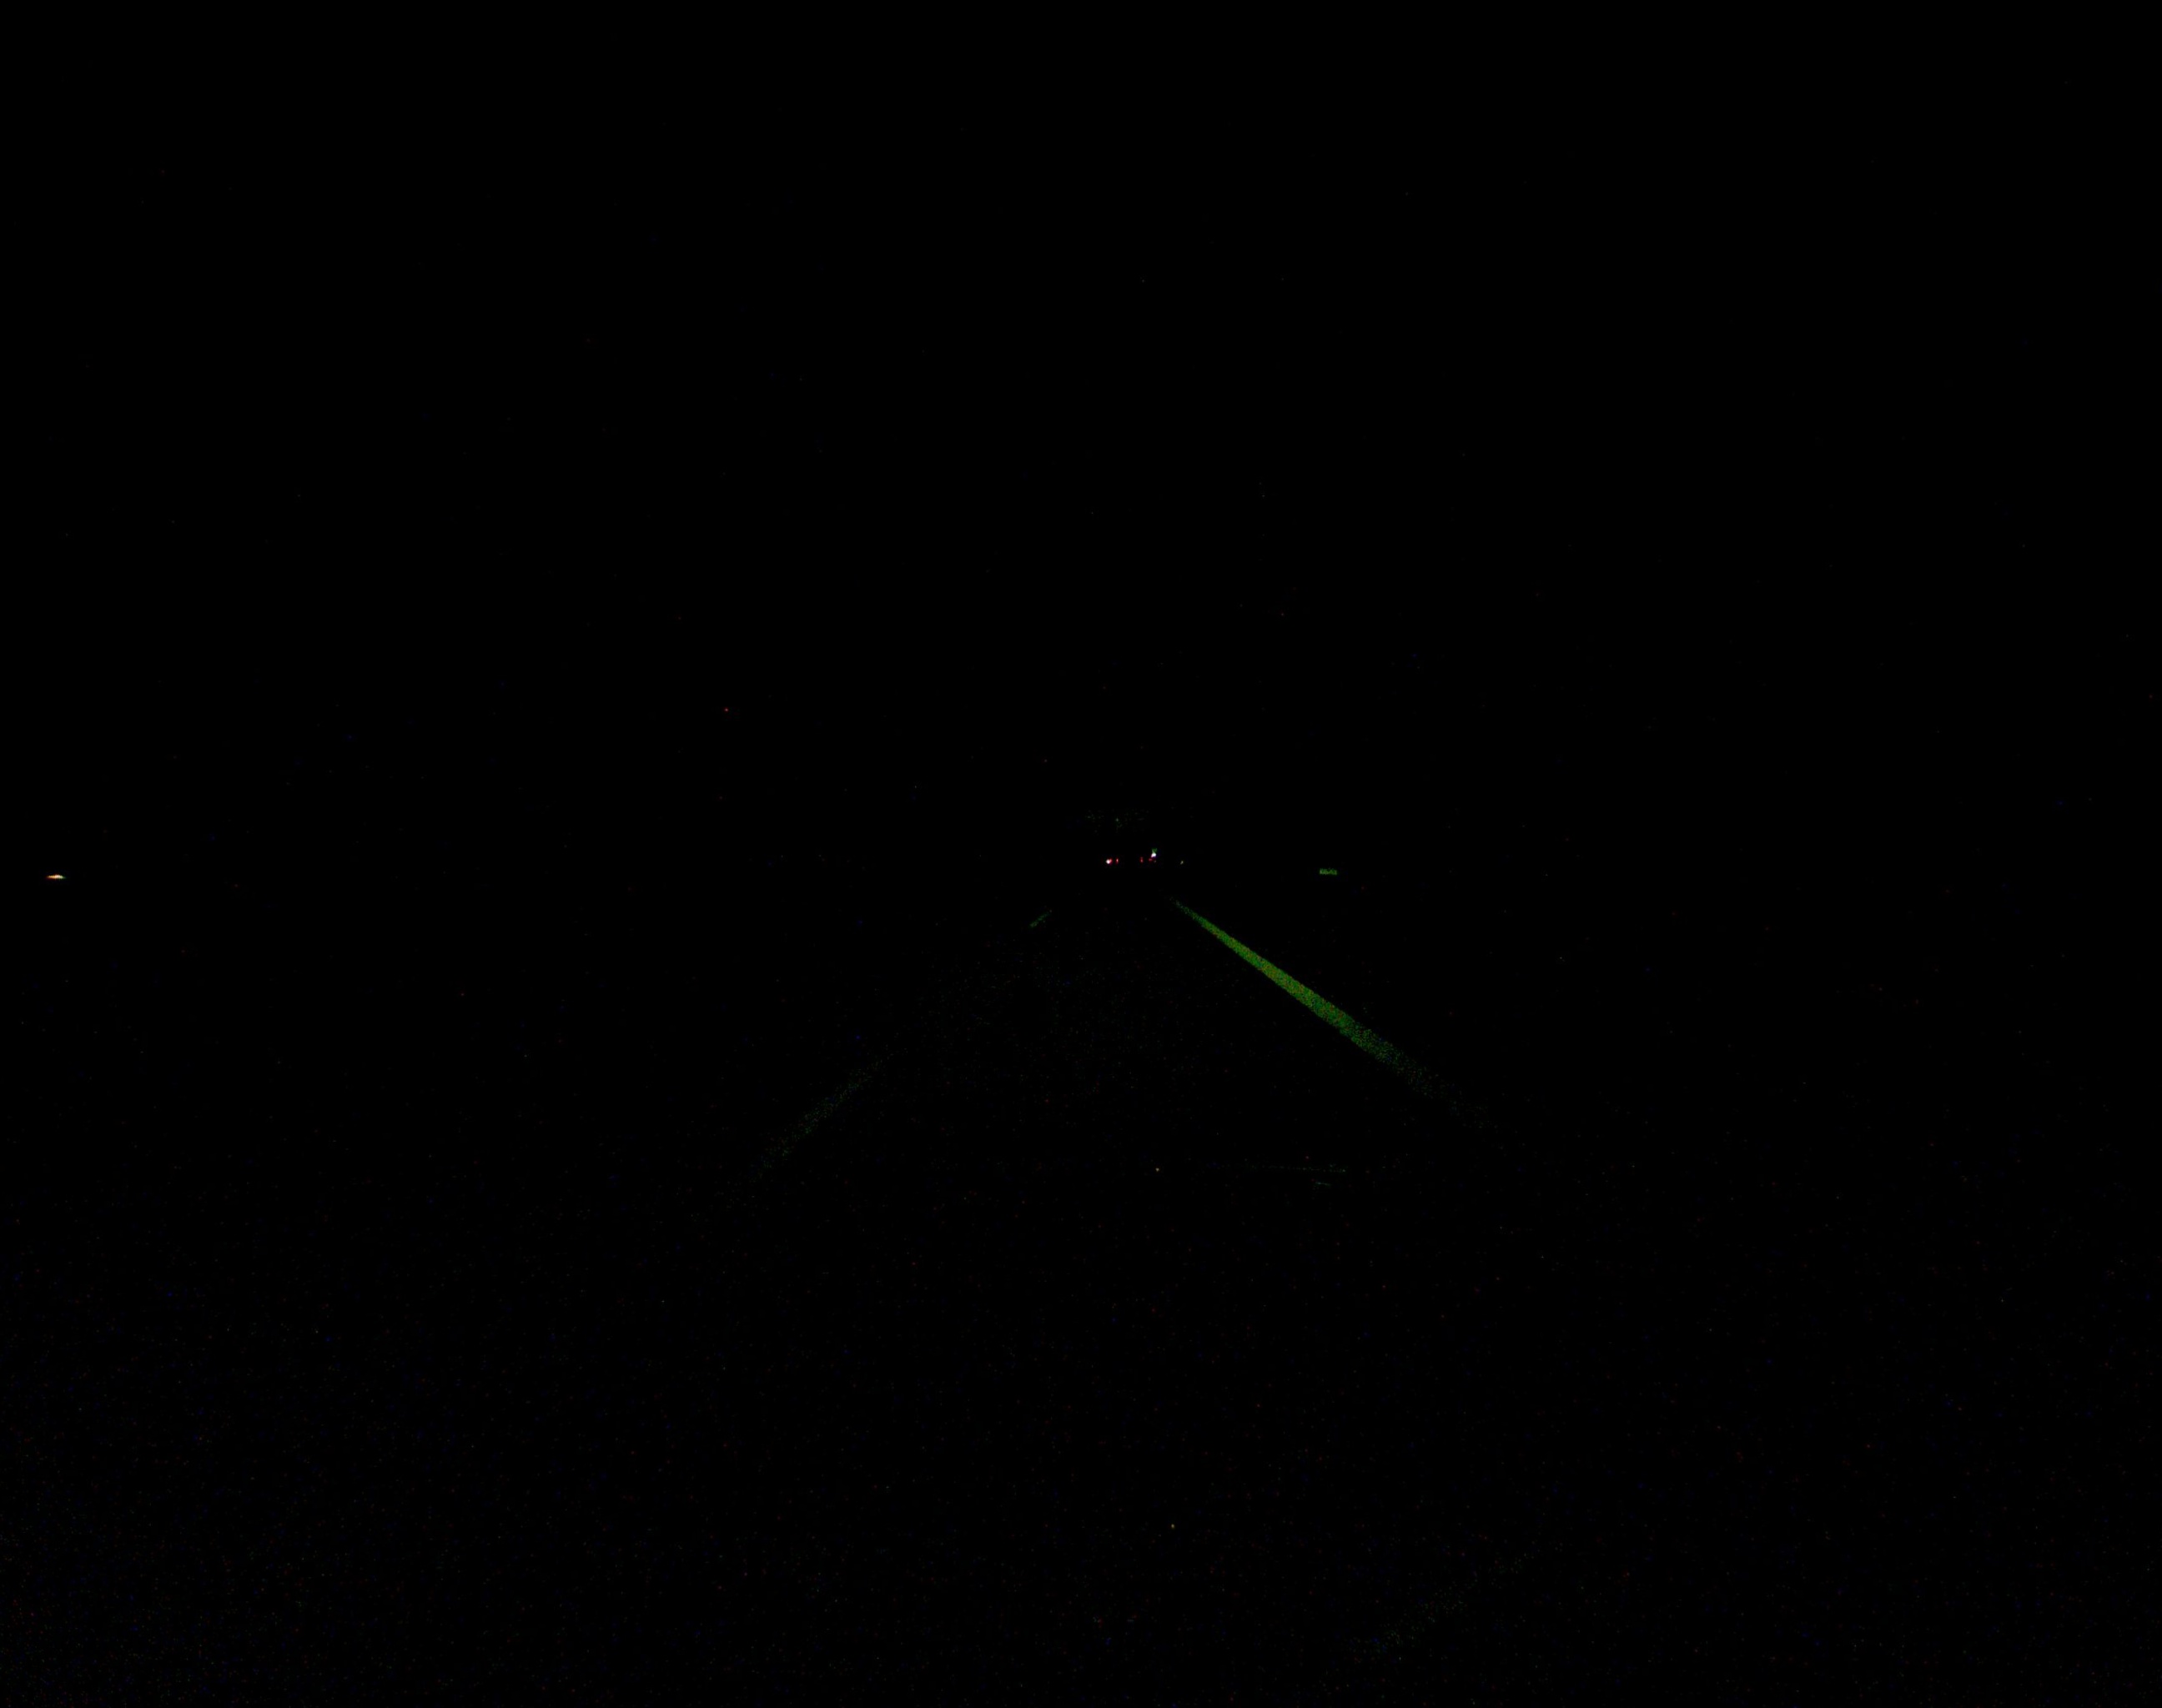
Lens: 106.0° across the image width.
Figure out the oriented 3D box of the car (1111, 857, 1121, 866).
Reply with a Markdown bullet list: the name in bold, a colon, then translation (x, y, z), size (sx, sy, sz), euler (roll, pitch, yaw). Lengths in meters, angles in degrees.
- **car**: translation (9.886, 2.155, 229.872), size (2.499, 2.314, 4.978), euler (-1, -1, 5)
